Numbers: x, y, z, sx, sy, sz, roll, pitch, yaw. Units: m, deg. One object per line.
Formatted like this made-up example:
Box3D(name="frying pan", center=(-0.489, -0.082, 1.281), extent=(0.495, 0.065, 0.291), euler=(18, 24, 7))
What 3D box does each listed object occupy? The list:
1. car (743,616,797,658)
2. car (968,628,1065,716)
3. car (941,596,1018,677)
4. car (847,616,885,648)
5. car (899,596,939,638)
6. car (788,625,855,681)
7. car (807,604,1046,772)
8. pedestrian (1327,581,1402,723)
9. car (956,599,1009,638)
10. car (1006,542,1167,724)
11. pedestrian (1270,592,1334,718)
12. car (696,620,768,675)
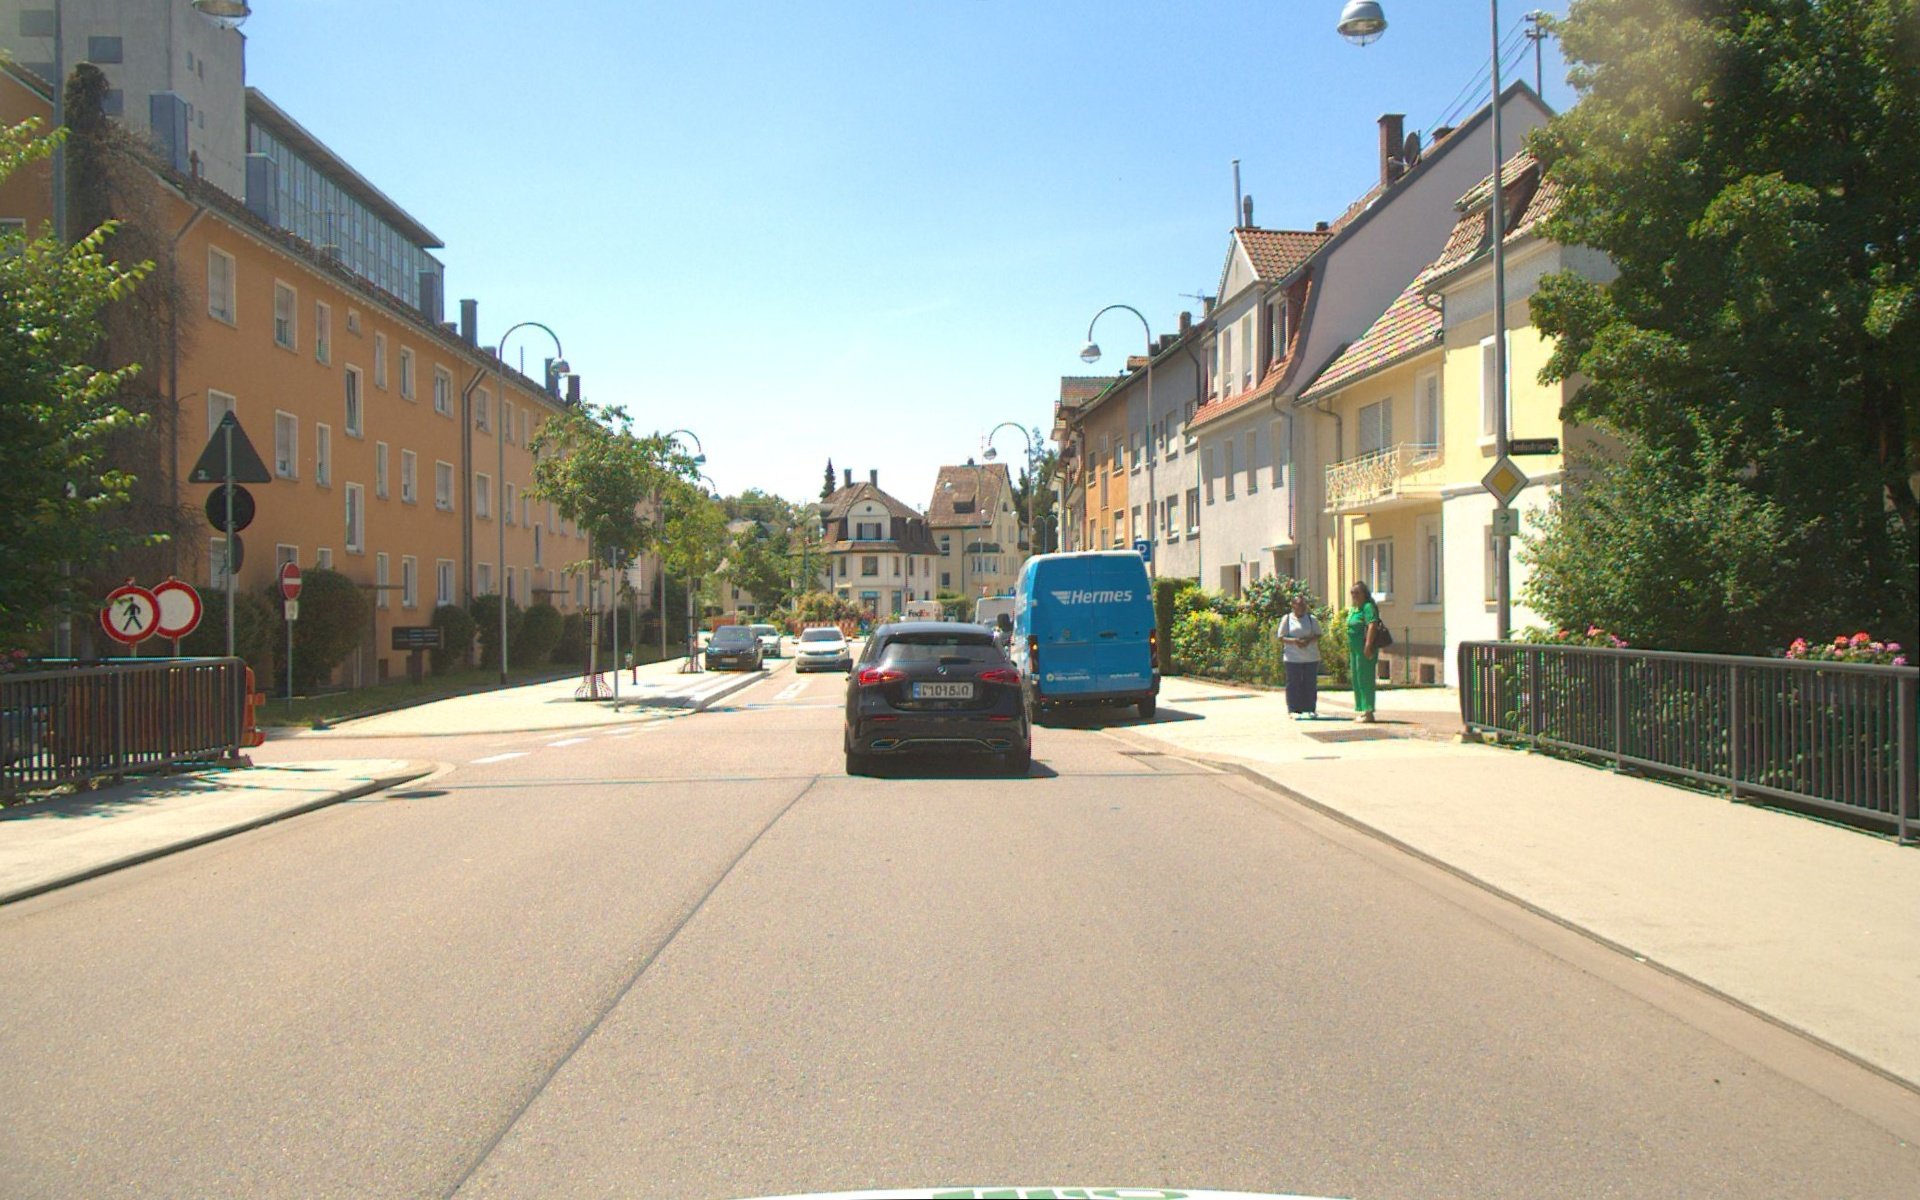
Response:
Box3D(name="car", center=(-8.341, 1.618, 72.881), extent=(1.953, 1.688, 3.999), euler=(1, 0, -1))
Box3D(name="car", center=(1.251, 1.618, 38.531), extent=(1.953, 1.776, 4.328), euler=(0, 1, -2))
Box3D(name="car", center=(0.502, 0.964, 45.965), extent=(1.953, 2.048, 3.999), euler=(0, 1, -2))
Box3D(name="car", center=(-5.320, 1.822, 94.155), extent=(1.953, 1.688, 3.999), euler=(1, 0, -1))
Box3D(name="car", center=(-2.492, 1.029, 100.414), extent=(2.199, 2.384, 4.851), euler=(-3, 0, -2))
Box3D(name="car", center=(-4.565, 1.739, 55.052), extent=(1.953, 1.688, 3.999), euler=(1, 0, -1))
Box3D(name="car", center=(-0.473, 0.894, 16.890), extent=(1.795, 1.467, 3.989), euler=(-1, -3, -10))
Box3D(name="pedestrian", center=(5.172, 0.651, 21.169), extent=(0.650, 1.772, 0.698), euler=(-1, 0, -19))
Box3D(name="car", center=(0.887, 0.723, 67.255), extent=(1.953, 1.416, 4.328), euler=(0, 1, -2))
Box3D(name="car", center=(1.881, 0.476, 26.080), extent=(2.089, 2.586, 4.648), euler=(-1, 0, -1))
Box3D(name="pedestrian", center=(4.578, 0.722, 22.173), extent=(0.602, 1.641, 0.836), euler=(-1, 0, -6))
Box3D(name="car", center=(-7.742, 1.595, 56.587), extent=(1.953, 1.688, 3.999), euler=(1, 0, -1))
